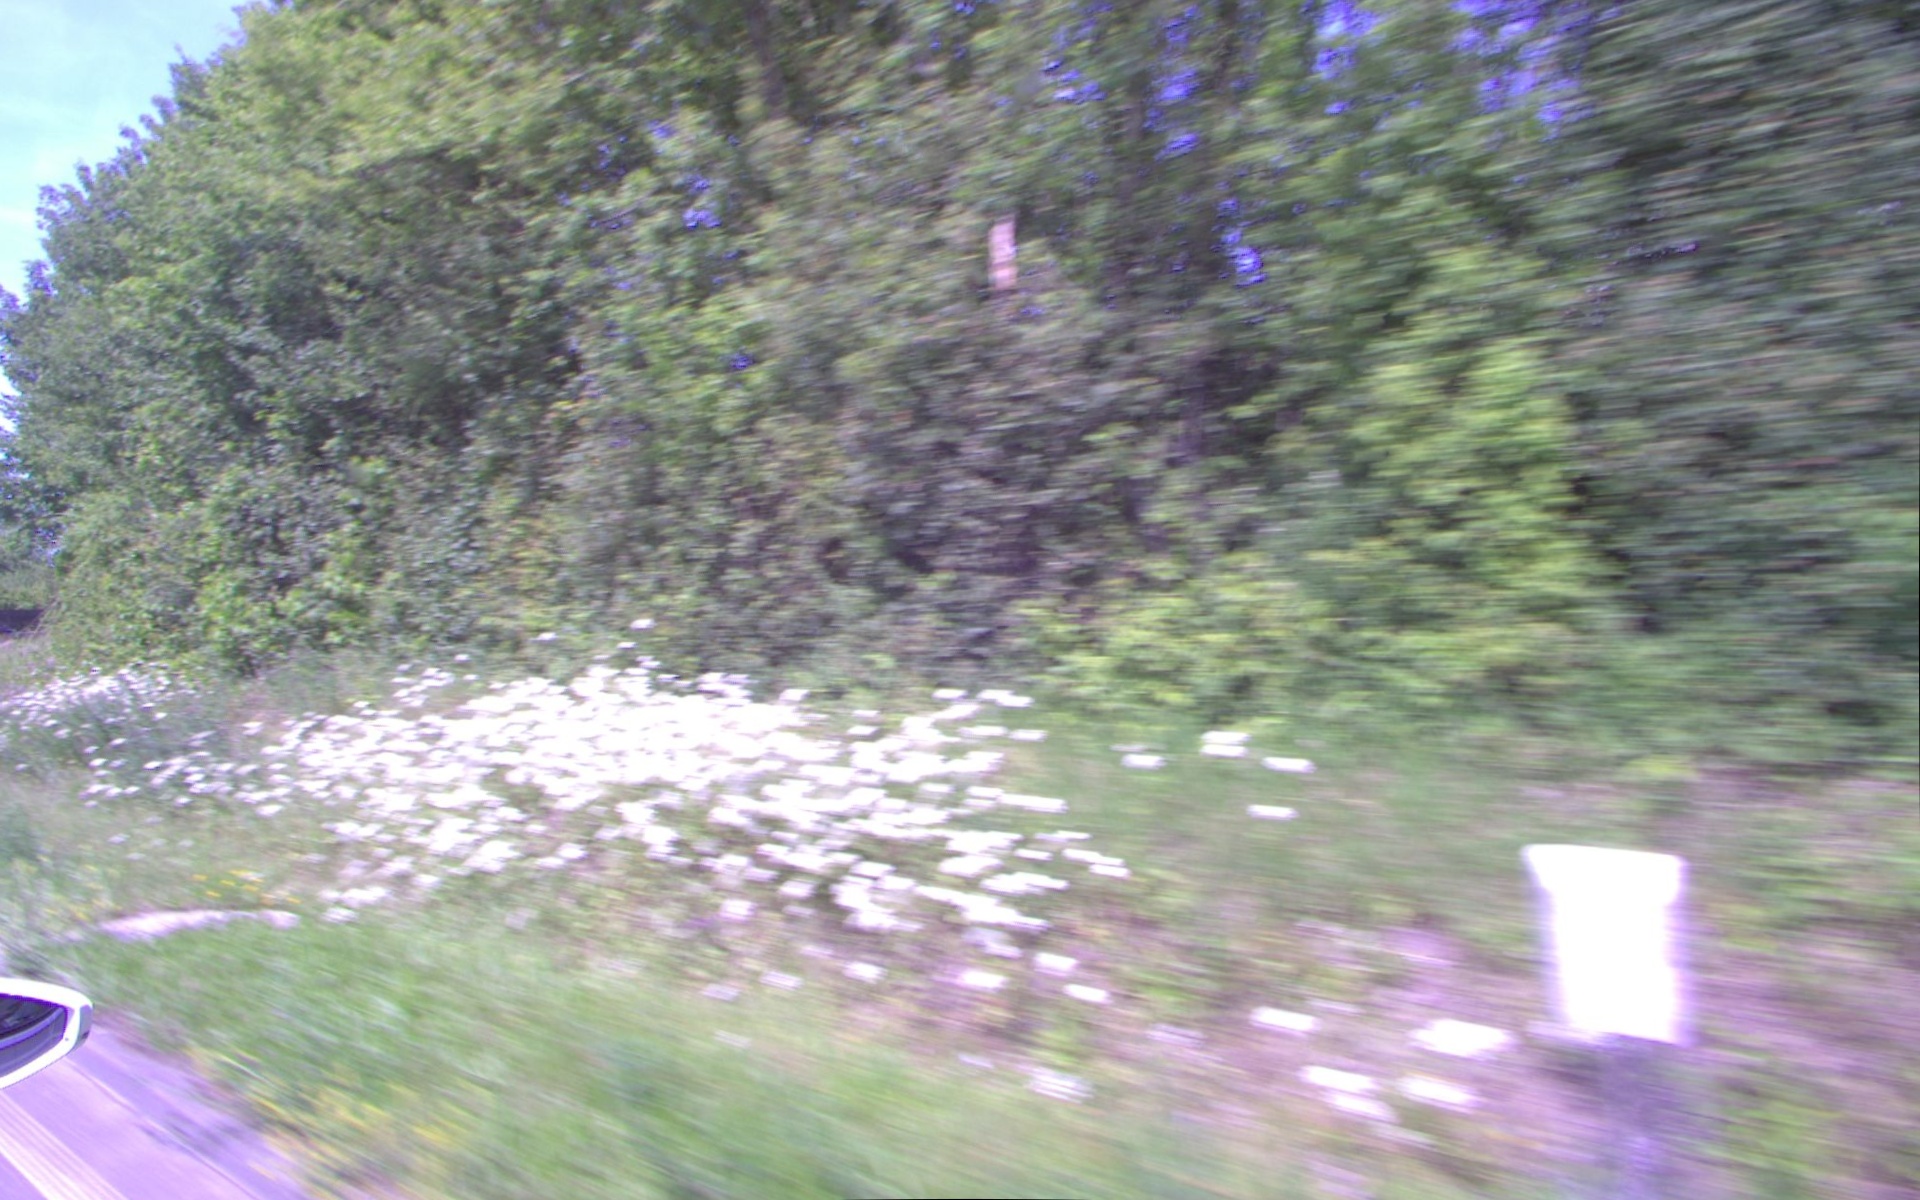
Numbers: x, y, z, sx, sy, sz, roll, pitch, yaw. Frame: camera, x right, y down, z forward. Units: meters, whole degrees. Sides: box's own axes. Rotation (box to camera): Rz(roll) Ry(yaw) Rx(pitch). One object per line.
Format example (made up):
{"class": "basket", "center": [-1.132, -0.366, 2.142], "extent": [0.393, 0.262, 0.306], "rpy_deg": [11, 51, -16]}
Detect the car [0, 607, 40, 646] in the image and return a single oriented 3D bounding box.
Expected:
{"class": "car", "center": [-38.645, 1.087, 39.431], "extent": [1.640, 1.506, 3.996], "rpy_deg": [-1, 1, -10]}
